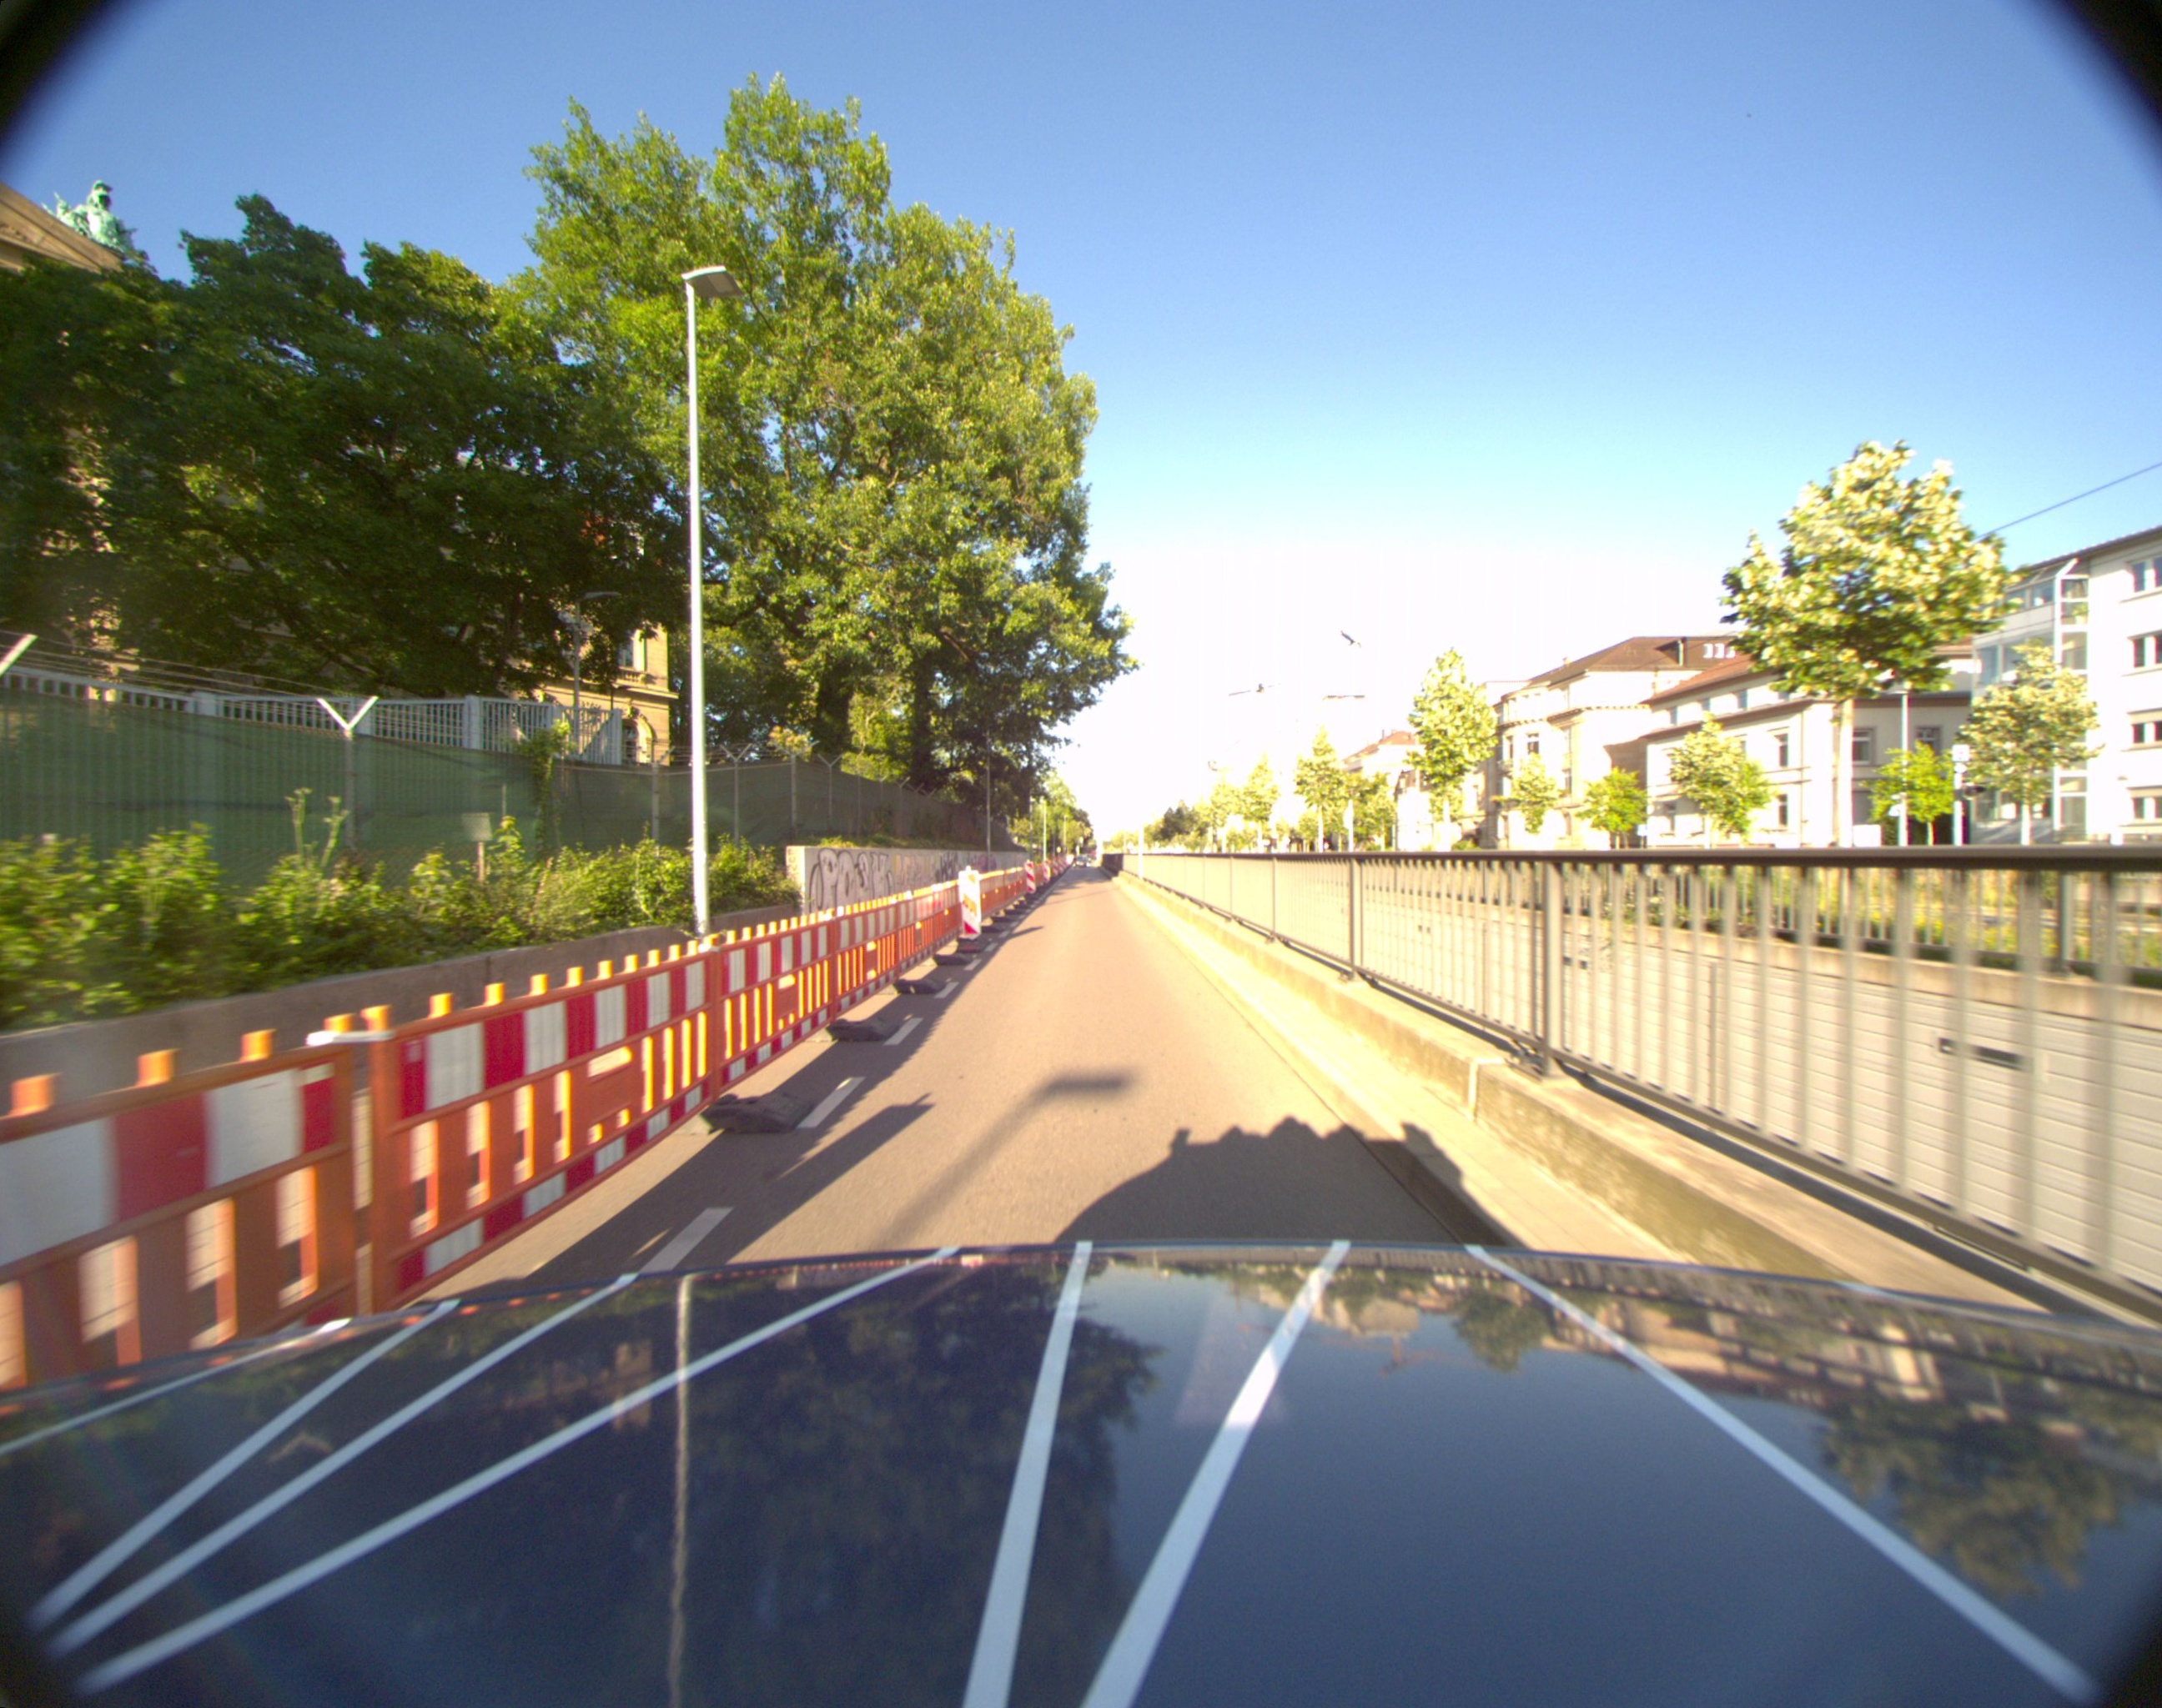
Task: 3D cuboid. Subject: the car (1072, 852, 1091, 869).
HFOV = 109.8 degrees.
[{"bbox_3d":[0.098,0.736,86.664,2.080,1.827,4.000,0,1,1],"label":"car"}]
